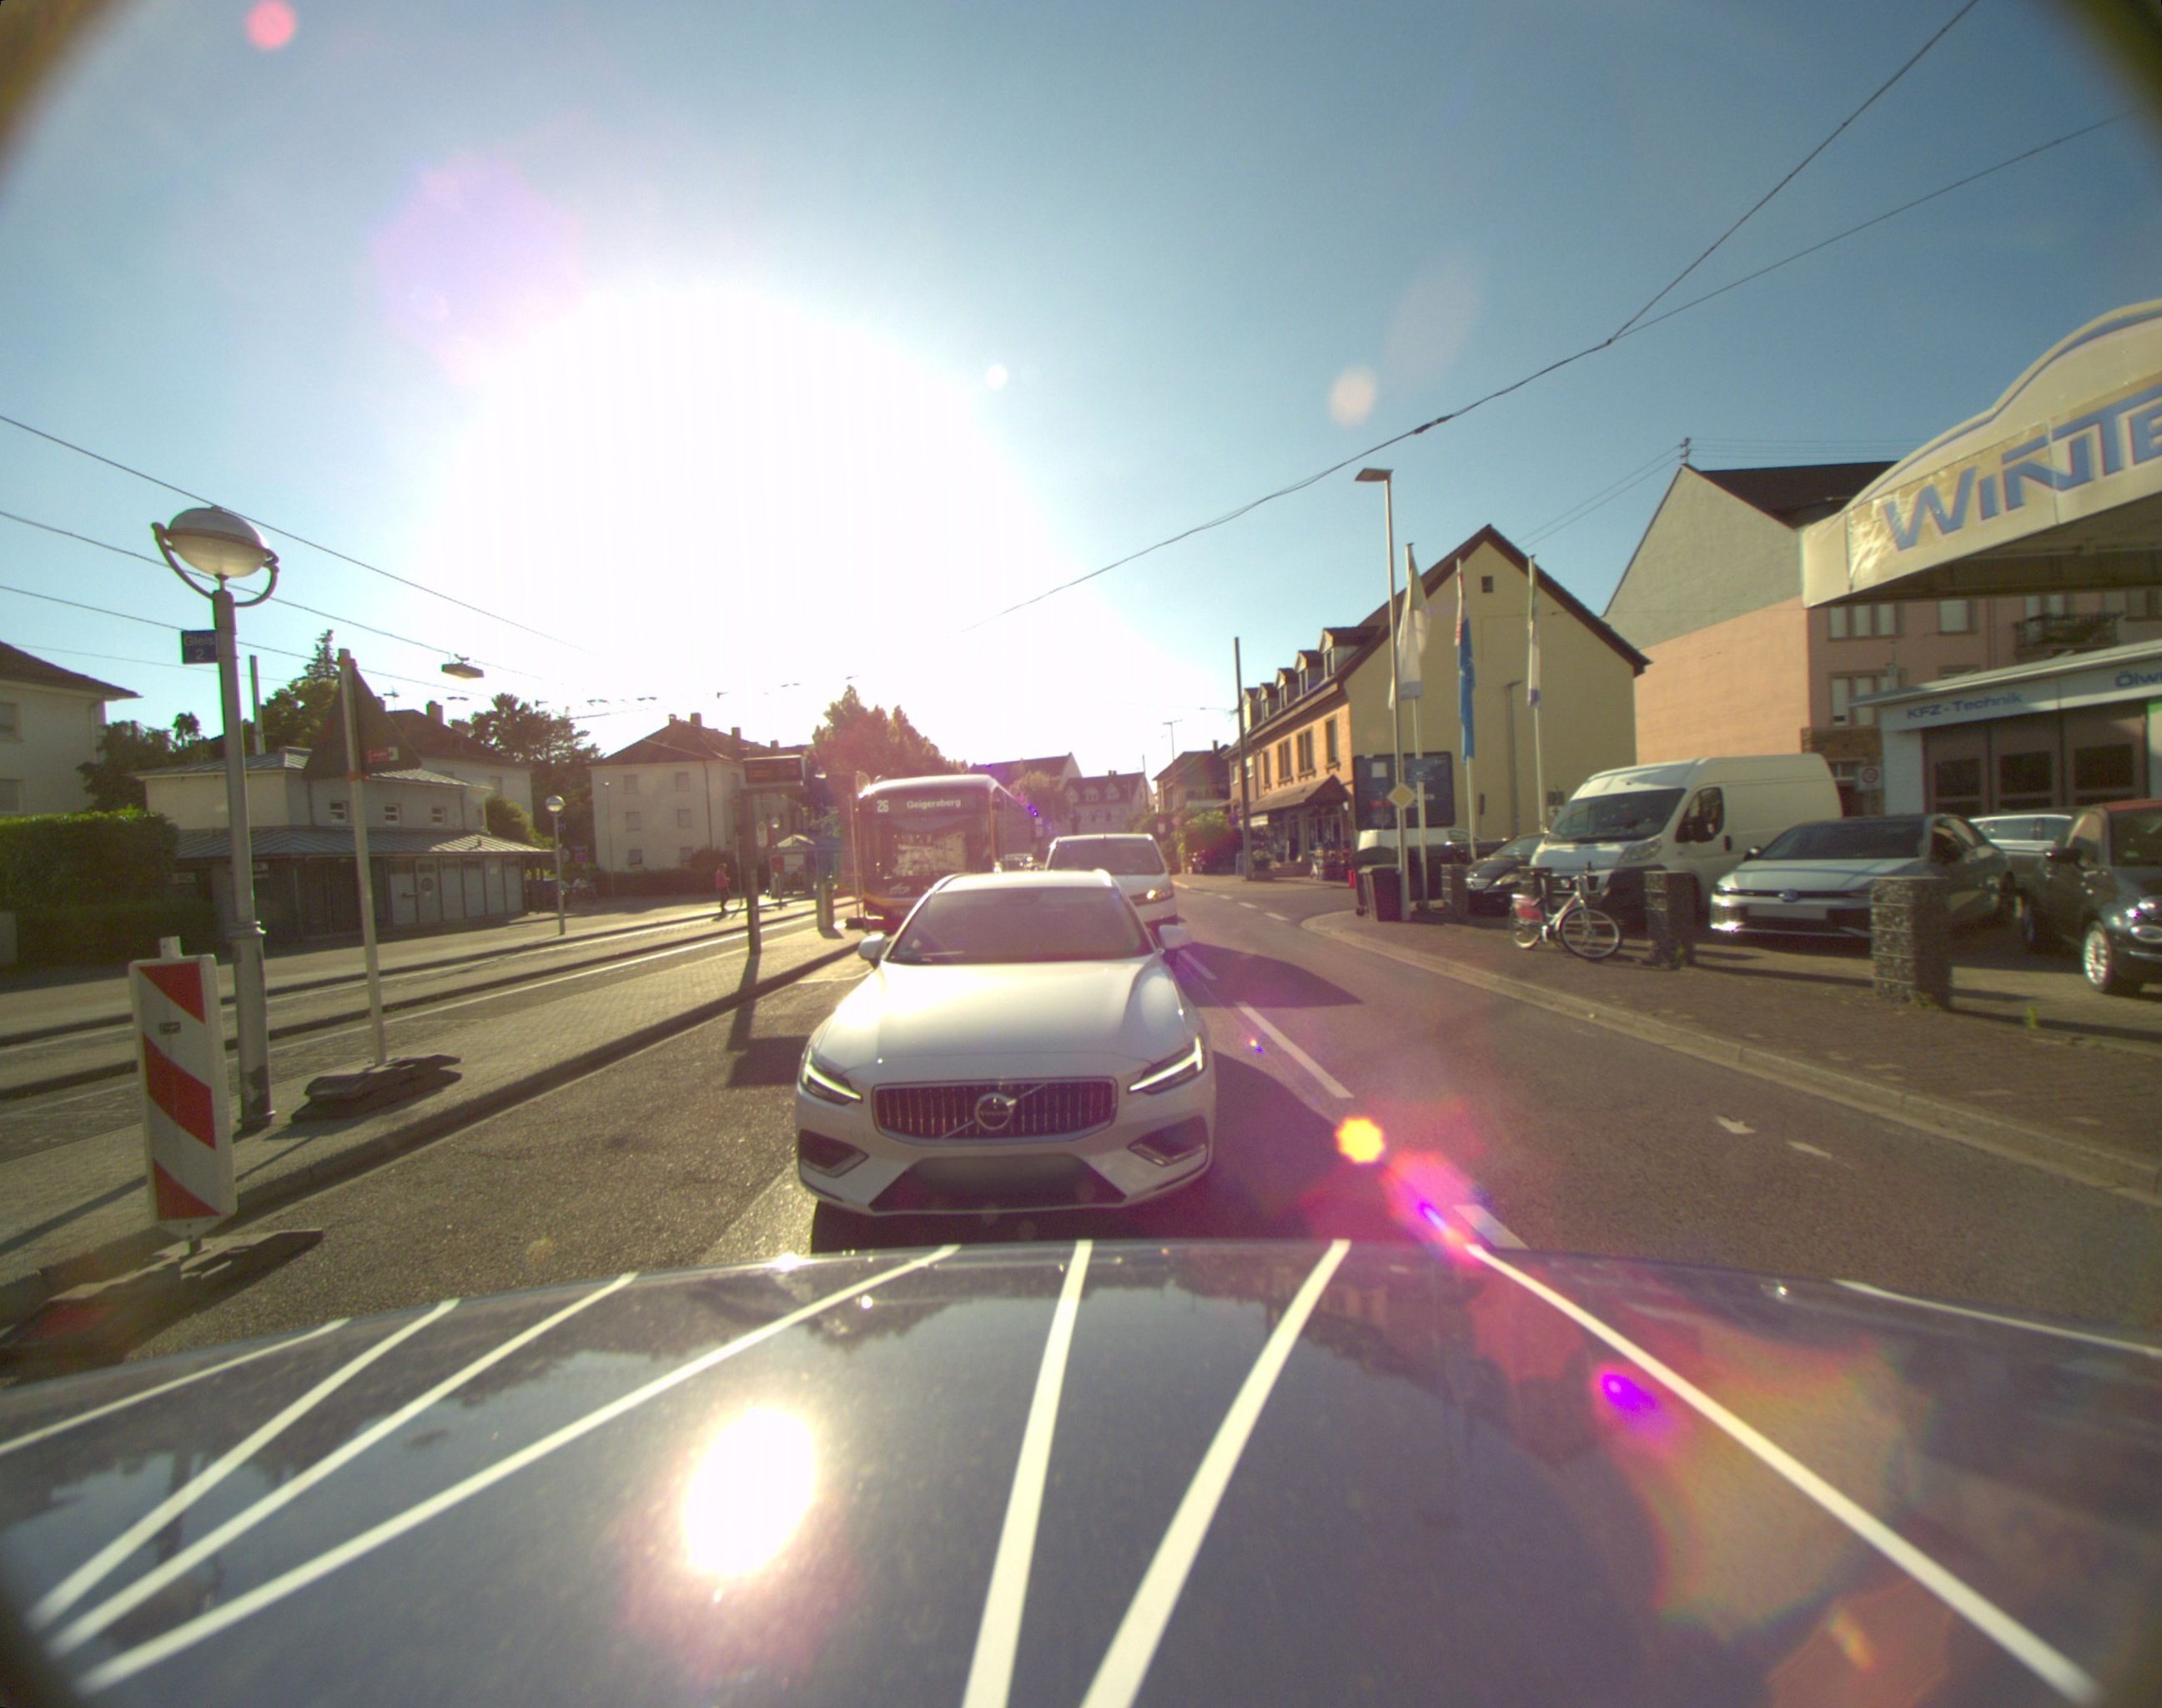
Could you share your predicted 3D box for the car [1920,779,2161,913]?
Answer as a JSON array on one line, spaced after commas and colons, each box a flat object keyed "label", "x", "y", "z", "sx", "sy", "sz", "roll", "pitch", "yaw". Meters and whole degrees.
[{"label": "car", "x": 16.481, "y": -0.165, "z": 11.984, "sx": 1.742, "sy": 1.933, "sz": 4.257, "roll": -3, "pitch": 1, "yaw": -1}]

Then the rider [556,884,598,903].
[{"label": "rider", "x": -27.617, "y": 2.158, "z": 41.644, "sx": 1.856, "sy": 0.986, "sz": 0.580, "roll": -2, "pitch": 1, "yaw": 3}]

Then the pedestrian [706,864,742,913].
[{"label": "pedestrian", "x": -12.962, "y": 1.245, "z": 27.622, "sx": 0.842, "sy": 1.708, "sz": 0.825, "roll": -2, "pitch": 1, "yaw": 1}]

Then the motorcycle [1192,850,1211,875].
[{"label": "motorcycle", "x": 6.354, "y": 0.425, "z": 40.116, "sx": 0.708, "sy": 1.210, "sz": 2.186, "roll": -2, "pitch": 1, "yaw": 3}]

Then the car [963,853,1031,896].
[{"label": "car", "x": -3.151, "y": 0.711, "z": 29.497, "sx": 1.969, "sy": 1.450, "sz": 4.824, "roll": -2, "pitch": 0, "yaw": 1}]

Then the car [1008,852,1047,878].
[{"label": "car", "x": -3.270, "y": 0.638, "z": 47.301, "sx": 1.969, "sy": 1.450, "sz": 4.824, "roll": -2, "pitch": 0, "yaw": 1}]

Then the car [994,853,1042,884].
[{"label": "car", "x": -3.228, "y": 0.712, "z": 39.886, "sx": 1.969, "sy": 1.450, "sz": 4.824, "roll": -2, "pitch": 0, "yaw": 1}]

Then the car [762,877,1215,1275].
[{"label": "car", "x": -0.353, "y": 0.986, "z": 5.253, "sx": 1.821, "sy": 1.446, "sz": 4.217, "roll": -2, "pitch": 0, "yaw": 1}]

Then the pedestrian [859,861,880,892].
[{"label": "pedestrian", "x": -11.295, "y": 1.181, "z": 40.540, "sx": 0.826, "sy": 1.601, "sz": 0.840, "roll": -3, "pitch": 1, "yaw": -30}]

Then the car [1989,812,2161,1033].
[{"label": "car", "x": 9.076, "y": 0.418, "z": 6.162, "sx": 1.590, "sy": 1.488, "sz": 3.442, "roll": -2, "pitch": 1, "yaw": 40}]

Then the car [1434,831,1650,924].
[{"label": "car", "x": 8.967, "y": 0.380, "z": 14.744, "sx": 4.036, "sy": 1.469, "sz": 1.739, "roll": -3, "pitch": 1, "yaw": -28}]

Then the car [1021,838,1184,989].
[{"label": "car", "x": 0.303, "y": 0.738, "z": 12.007, "sx": 1.969, "sy": 1.816, "sz": 5.033, "roll": -2, "pitch": 0, "yaw": 1}]

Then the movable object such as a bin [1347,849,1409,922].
[{"label": "movable object such as a bin", "x": 6.236, "y": 0.647, "z": 15.947, "sx": 1.045, "sy": 1.456, "sz": 0.797, "roll": -2, "pitch": 1, "yaw": 32}]

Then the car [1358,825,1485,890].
[{"label": "car", "x": 11.565, "y": 0.105, "z": 25.919, "sx": 3.672, "sy": 2.002, "sz": 1.451, "roll": -2, "pitch": 1, "yaw": -3}]

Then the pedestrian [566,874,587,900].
[{"label": "pedestrian", "x": -27.623, "y": 1.822, "z": 41.628, "sx": 0.658, "sy": 1.373, "sz": 0.580, "roll": -2, "pitch": 1, "yaw": 4}]

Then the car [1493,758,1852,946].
[{"label": "car", "x": 9.143, "y": -0.128, "z": 11.757, "sx": 4.997, "sy": 2.440, "sz": 2.111, "roll": -3, "pitch": 1, "yaw": -22}]

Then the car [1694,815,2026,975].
[{"label": "car", "x": 9.490, "y": 0.366, "z": 9.208, "sx": 4.036, "sy": 1.488, "sz": 1.739, "roll": -3, "pitch": 1, "yaw": -28}]

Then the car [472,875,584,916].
[{"label": "car", "x": -27.687, "y": 2.049, "z": 38.137, "sx": 4.052, "sy": 1.663, "sz": 2.000, "roll": -4, "pitch": 1, "yaw": 2}]

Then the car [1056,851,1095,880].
[{"label": "car", "x": -0.251, "y": 0.573, "z": 41.505, "sx": 1.969, "sy": 1.450, "sz": 4.824, "roll": -2, "pitch": 0, "yaw": 1}]

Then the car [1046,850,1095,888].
[{"label": "car", "x": -0.391, "y": 0.589, "z": 33.258, "sx": 1.969, "sy": 1.450, "sz": 4.824, "roll": -2, "pitch": 0, "yaw": 1}]

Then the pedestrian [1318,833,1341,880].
[{"label": "pedestrian", "x": 9.772, "y": 0.092, "z": 29.937, "sx": 0.765, "sy": 1.842, "sz": 0.824, "roll": -2, "pitch": 1, "yaw": 16}]

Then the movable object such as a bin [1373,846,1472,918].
[{"label": "movable object such as a bin", "x": 7.593, "y": 0.585, "z": 16.911, "sx": 1.798, "sy": 1.456, "sz": 1.046, "roll": -3, "pitch": 1, "yaw": -25}]

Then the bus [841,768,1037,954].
[{"label": "bus", "x": -2.919, "y": 0.100, "z": 19.830, "sx": 2.748, "sy": 3.284, "sz": 12.031, "roll": -2, "pitch": 0, "yaw": 0}]

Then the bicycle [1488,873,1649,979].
[{"label": "bicycle", "x": 5.881, "y": 0.820, "z": 9.310, "sx": 0.725, "sy": 1.080, "sz": 1.791, "roll": -3, "pitch": 1, "yaw": -3}]

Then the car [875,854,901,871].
[{"label": "car", "x": -23.258, "y": 1.025, "z": 91.770, "sx": 1.998, "sy": 1.853, "sz": 3.999, "roll": -2, "pitch": 1, "yaw": 1}]
